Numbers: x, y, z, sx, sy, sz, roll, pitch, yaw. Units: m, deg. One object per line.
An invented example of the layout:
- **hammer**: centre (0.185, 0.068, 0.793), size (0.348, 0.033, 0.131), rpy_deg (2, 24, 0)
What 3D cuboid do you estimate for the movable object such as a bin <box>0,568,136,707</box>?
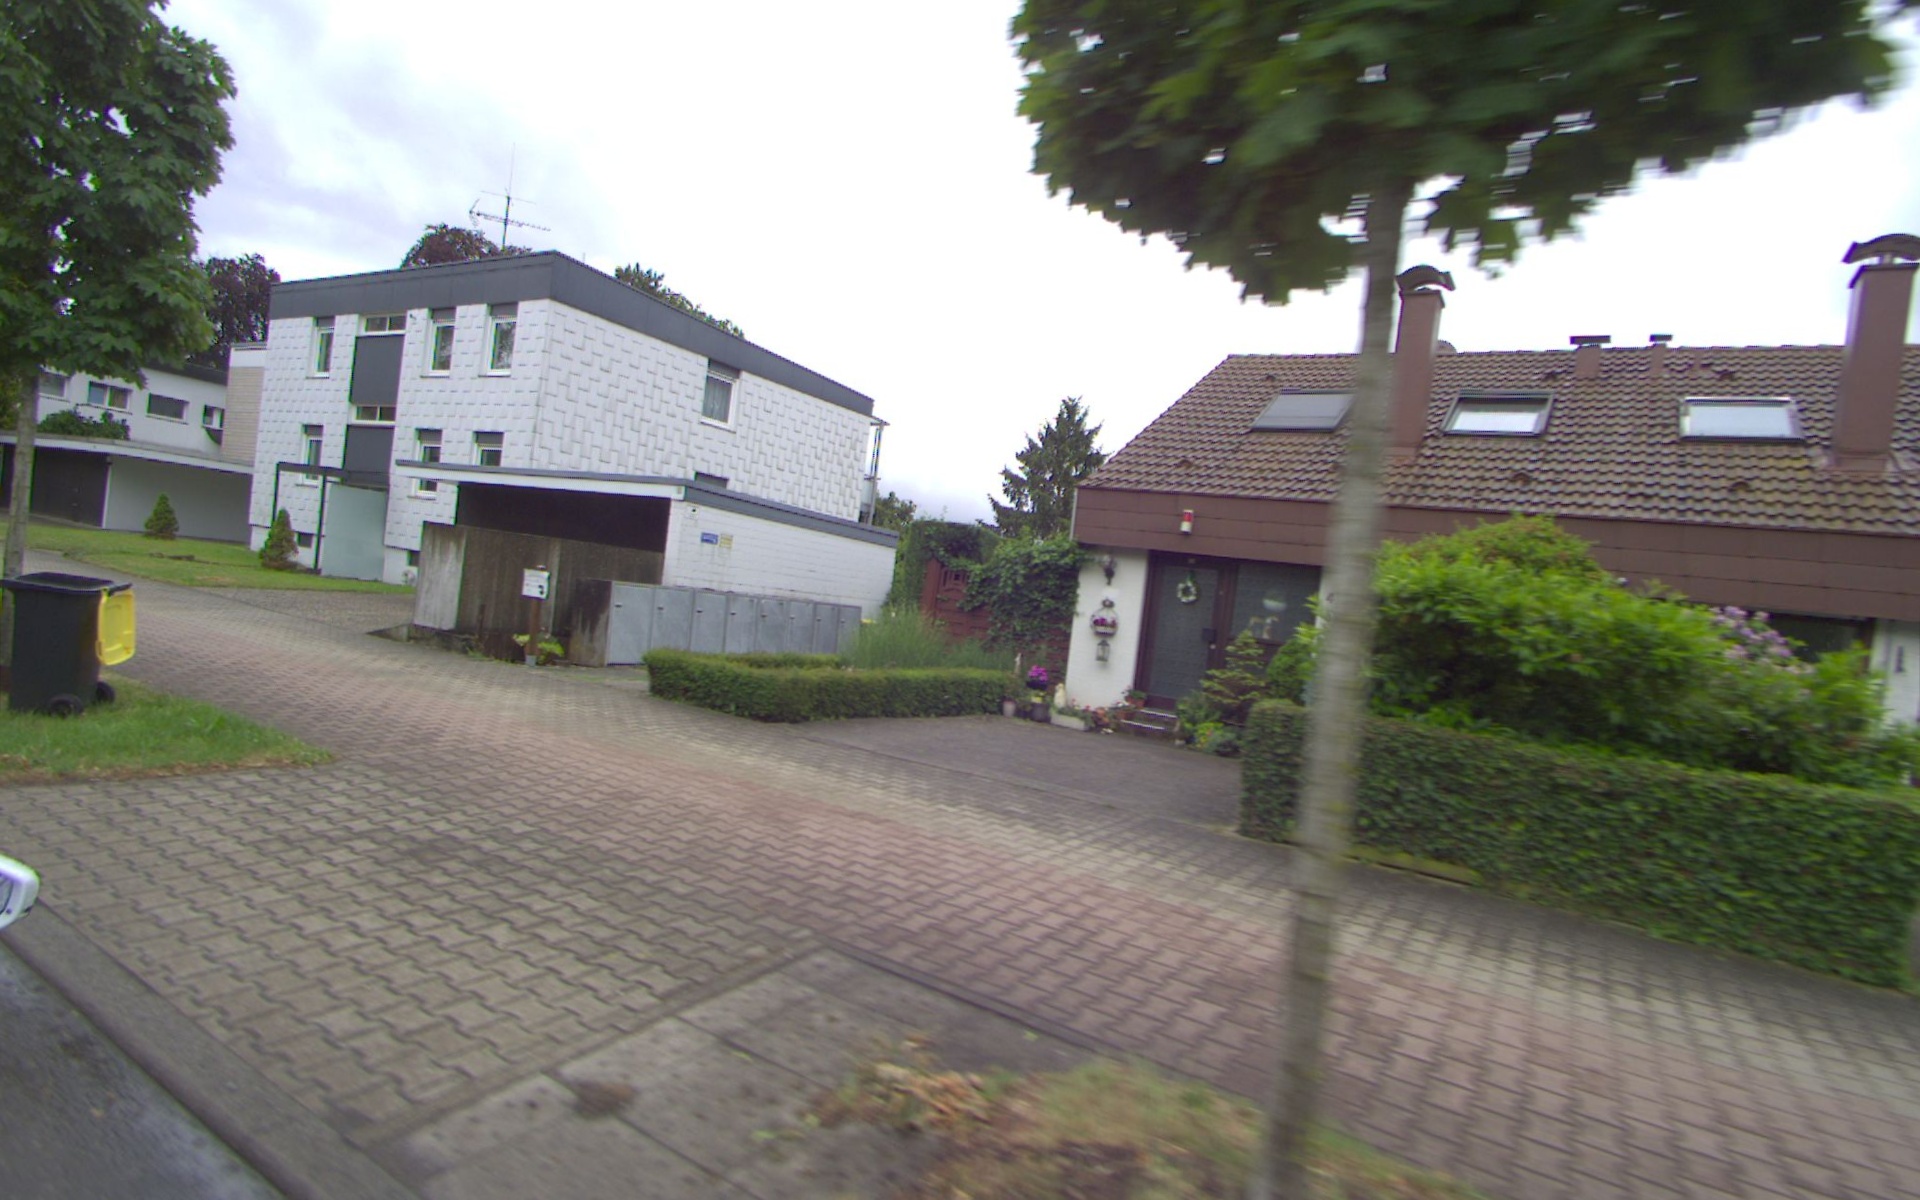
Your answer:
- **movable object such as a bin**: centre (-5.778, 0.238, 6.469), size (0.654, 0.811, 0.595), rpy_deg (3, 3, -32)
